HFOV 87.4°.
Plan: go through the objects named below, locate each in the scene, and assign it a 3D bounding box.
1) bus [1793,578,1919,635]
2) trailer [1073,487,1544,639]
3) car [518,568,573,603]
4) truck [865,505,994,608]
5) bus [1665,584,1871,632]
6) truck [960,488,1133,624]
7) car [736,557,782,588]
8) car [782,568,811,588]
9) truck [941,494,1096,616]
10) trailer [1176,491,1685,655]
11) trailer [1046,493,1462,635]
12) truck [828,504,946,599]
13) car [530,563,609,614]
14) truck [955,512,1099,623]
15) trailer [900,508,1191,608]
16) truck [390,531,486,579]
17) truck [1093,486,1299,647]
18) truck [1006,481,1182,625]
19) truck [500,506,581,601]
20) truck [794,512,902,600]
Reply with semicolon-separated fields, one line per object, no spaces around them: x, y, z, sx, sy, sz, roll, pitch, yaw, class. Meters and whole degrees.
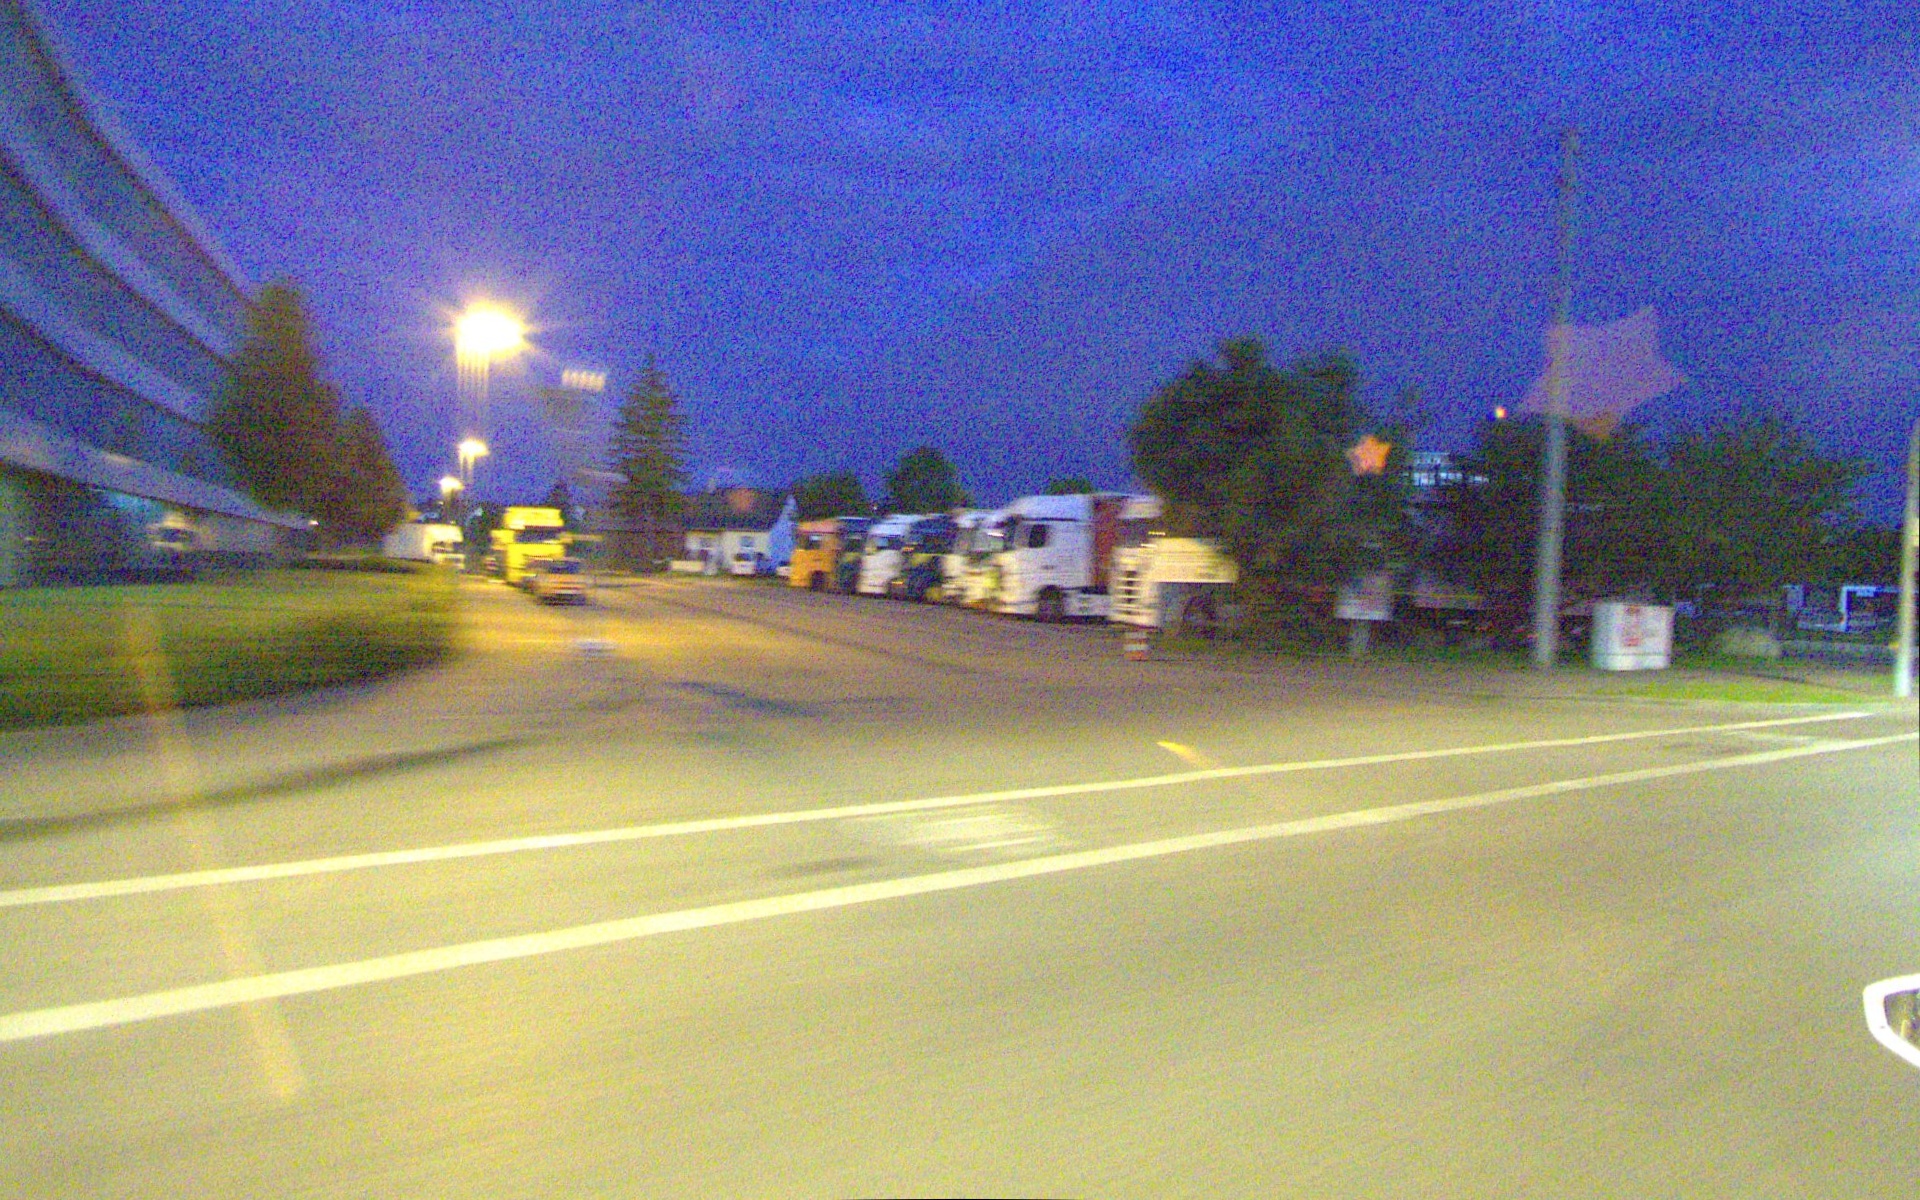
57.503;0.443;61.449;12.451;3.247;3.015;1;1;-12;bus
11.375;-1.148;33.219;14.725;4.204;3.064;2;2;-7;trailer
-17.950;-0.654;43.411;1.675;1.385;3.966;1;1;-31;car
-1.486;-1.998;46.932;5.469;4.416;3.061;2;2;-12;truck
56.607;0.533;70.595;12.032;3.023;2.953;1;1;0;bus
3.004;-1.542;36.029;5.464;4.416;3.063;2;2;-9;truck
-14.155;-1.938;71.074;1.960;2.041;4.654;2;1;4;car
-11.602;-1.561;71.413;1.644;1.298;3.529;2;1;-4;car
2.226;-1.765;39.849;5.465;4.416;3.063;2;2;-9;truck
13.838;-0.661;29.382;14.749;3.985;3.059;2;2;-14;trailer
10.808;-1.250;37.250;14.729;4.416;3.063;2;2;-9;trailer
-3.724;-2.397;50.682;5.469;4.416;3.061;2;2;-12;truck
-13.392;-0.416;34.307;1.869;1.573;3.966;2;1;-31;car
2.840;-1.403;43.674;5.469;4.416;3.061;2;2;-12;truck
4.434;-2.110;52.432;14.740;4.416;3.060;2;2;-12;trailer
-42.905;-3.727;82.457;9.543;3.667;3.353;3;2;38;truck
6.347;-0.890;27.466;4.428;3.986;3.058;2;2;-14;truck
4.195;-1.466;32.268;4.844;4.204;3.064;2;2;-7;truck
-23.542;-2.444;55.895;3.531;4.611;12.512;1;1;-25;truck
-6.170;-2.362;54.778;5.469;4.416;3.061;2;2;-12;truck
